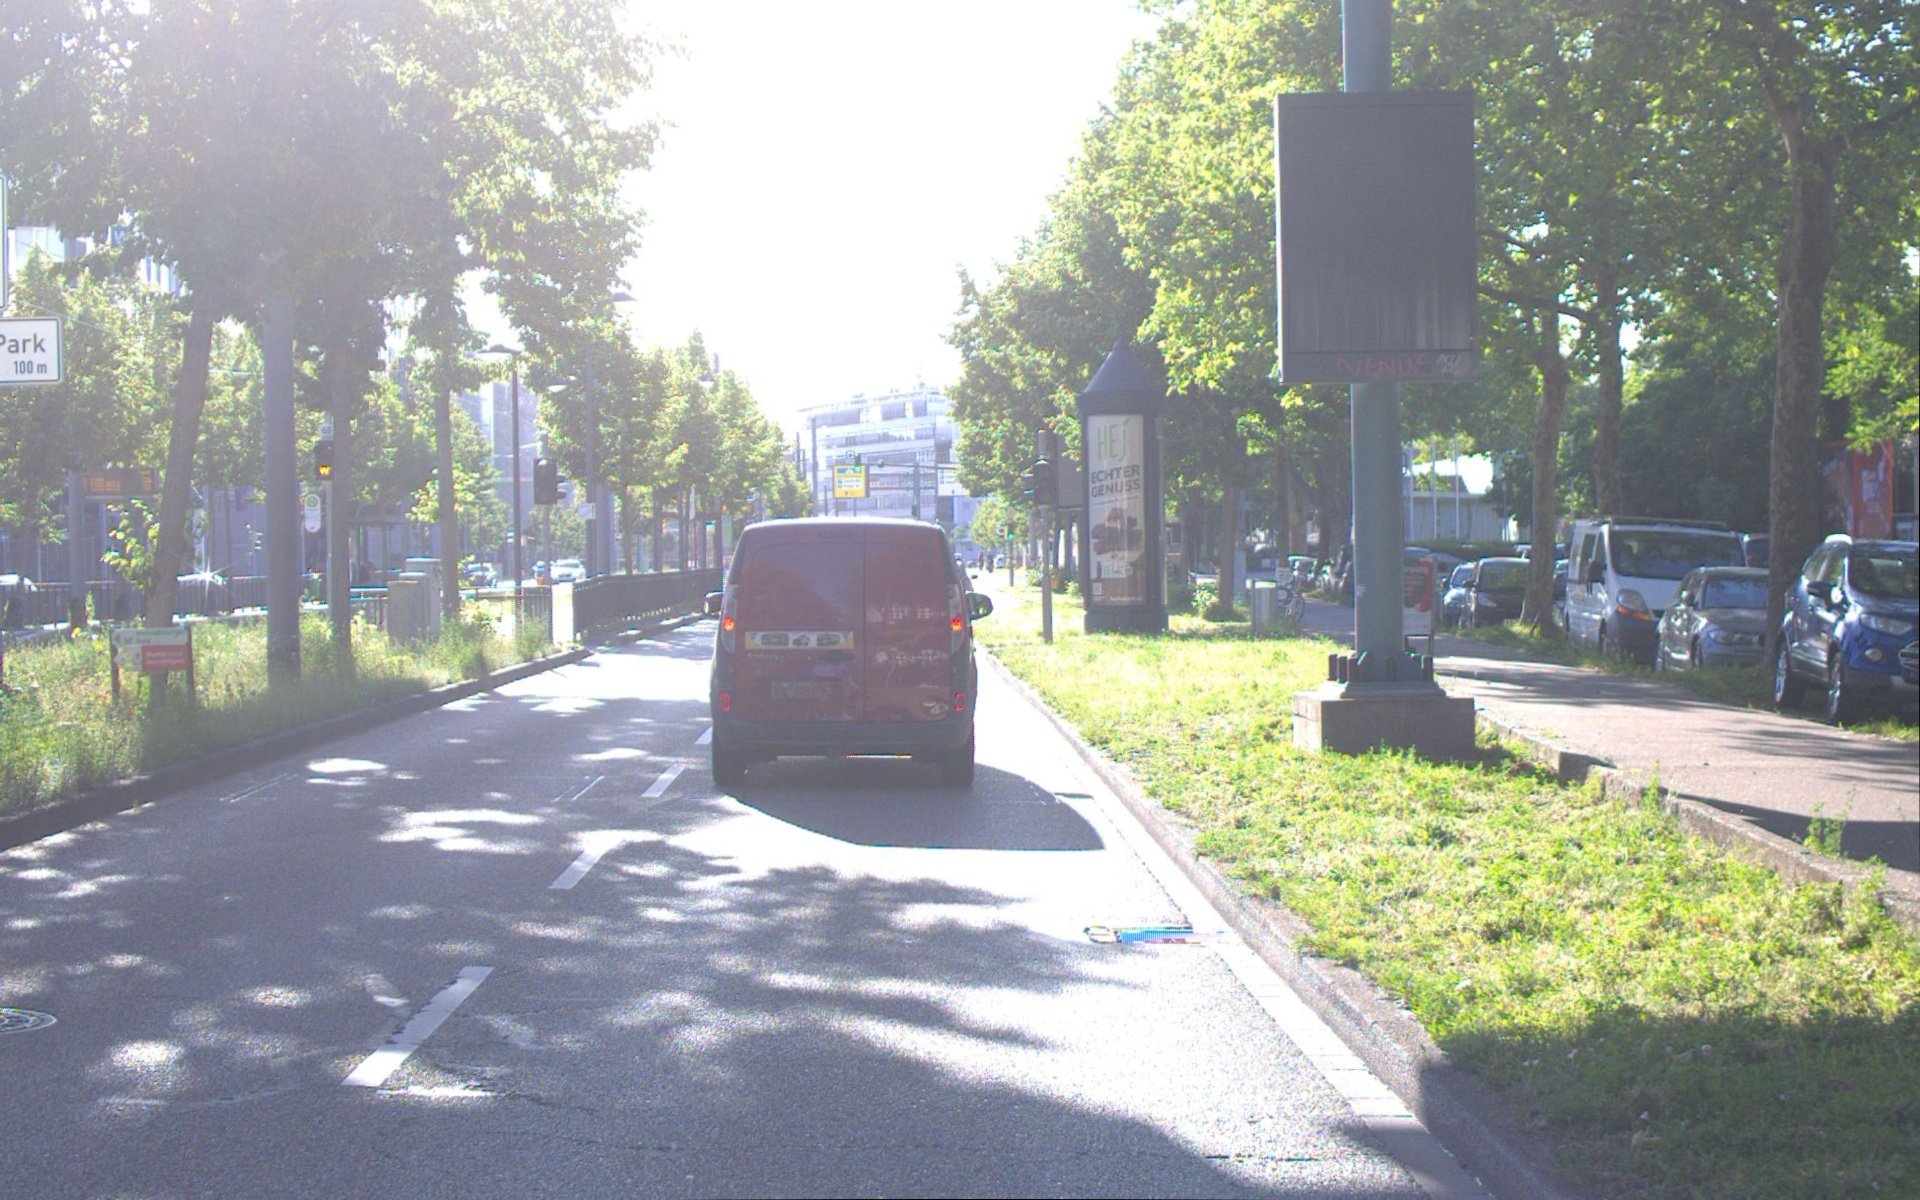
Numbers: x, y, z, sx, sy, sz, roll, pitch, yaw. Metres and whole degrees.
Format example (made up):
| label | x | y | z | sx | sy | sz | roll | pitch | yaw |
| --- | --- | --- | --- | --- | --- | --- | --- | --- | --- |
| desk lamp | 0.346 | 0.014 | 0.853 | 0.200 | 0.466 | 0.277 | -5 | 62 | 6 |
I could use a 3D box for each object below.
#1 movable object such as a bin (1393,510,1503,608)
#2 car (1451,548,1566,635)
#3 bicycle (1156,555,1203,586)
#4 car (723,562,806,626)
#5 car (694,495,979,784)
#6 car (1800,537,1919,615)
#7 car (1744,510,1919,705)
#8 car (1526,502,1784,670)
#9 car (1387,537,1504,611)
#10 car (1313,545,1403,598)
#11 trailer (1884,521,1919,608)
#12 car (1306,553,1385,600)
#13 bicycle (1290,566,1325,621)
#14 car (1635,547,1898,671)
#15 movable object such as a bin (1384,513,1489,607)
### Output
| label | x | y | z | sx | sy | sz | roll | pitch | yaw |
| --- | --- | --- | --- | --- | --- | --- | --- | --- | --- |
| movable object such as a bin | 10.312 | -0.867 | 72.762 | 2.081 | 2.007 | 2.136 | 1 | 0 | 3 |
| car | 9.898 | -0.159 | 62.183 | 1.662 | 1.495 | 2.989 | 1 | 0 | 2 |
| bicycle | 9.017 | -1.231 | 141.174 | 1.918 | 1.264 | 0.479 | 0 | 1 | 1 |
| car | -5.159 | -0.164 | 91.305 | 1.993 | 1.612 | 4.000 | 1 | 0 | -1 |
| car | -0.922 | 0.243 | 24.122 | 1.808 | 1.831 | 4.001 | 1 | 0 | -4 |
| car | 20.028 | -0.527 | 75.871 | 1.993 | 1.634 | 4.000 | 1 | 0 | 0 |
| car | 8.482 | 0.060 | 31.221 | 1.736 | 1.636 | 4.353 | 1 | 0 | 1 |
| car | 8.934 | -0.189 | 44.749 | 2.190 | 2.007 | 5.820 | 1 | 0 | 1 |
| car | 9.572 | -0.509 | 68.078 | 2.000 | 1.380 | 4.744 | 1 | 0 | 5 |
| car | 11.225 | -0.806 | 97.140 | 1.871 | 1.429 | 4.902 | 1 | 0 | -1 |
| trailer | 18.971 | -0.712 | 66.041 | 1.730 | 1.635 | 3.023 | -2 | 0 | 3 |
| car | 11.713 | -0.706 | 104.761 | 1.871 | 1.363 | 4.000 | 1 | 0 | -1 |
| bicycle | 6.698 | -0.127 | 66.288 | 0.493 | 1.043 | 1.904 | 1 | 0 | 1 |
| car | 8.937 | 0.085 | 38.422 | 1.993 | 1.285 | 4.053 | 1 | 0 | 1 |
| movable object such as a bin | 10.444 | -0.872 | 75.526 | 2.081 | 2.007 | 2.136 | 1 | 0 | 3 |
